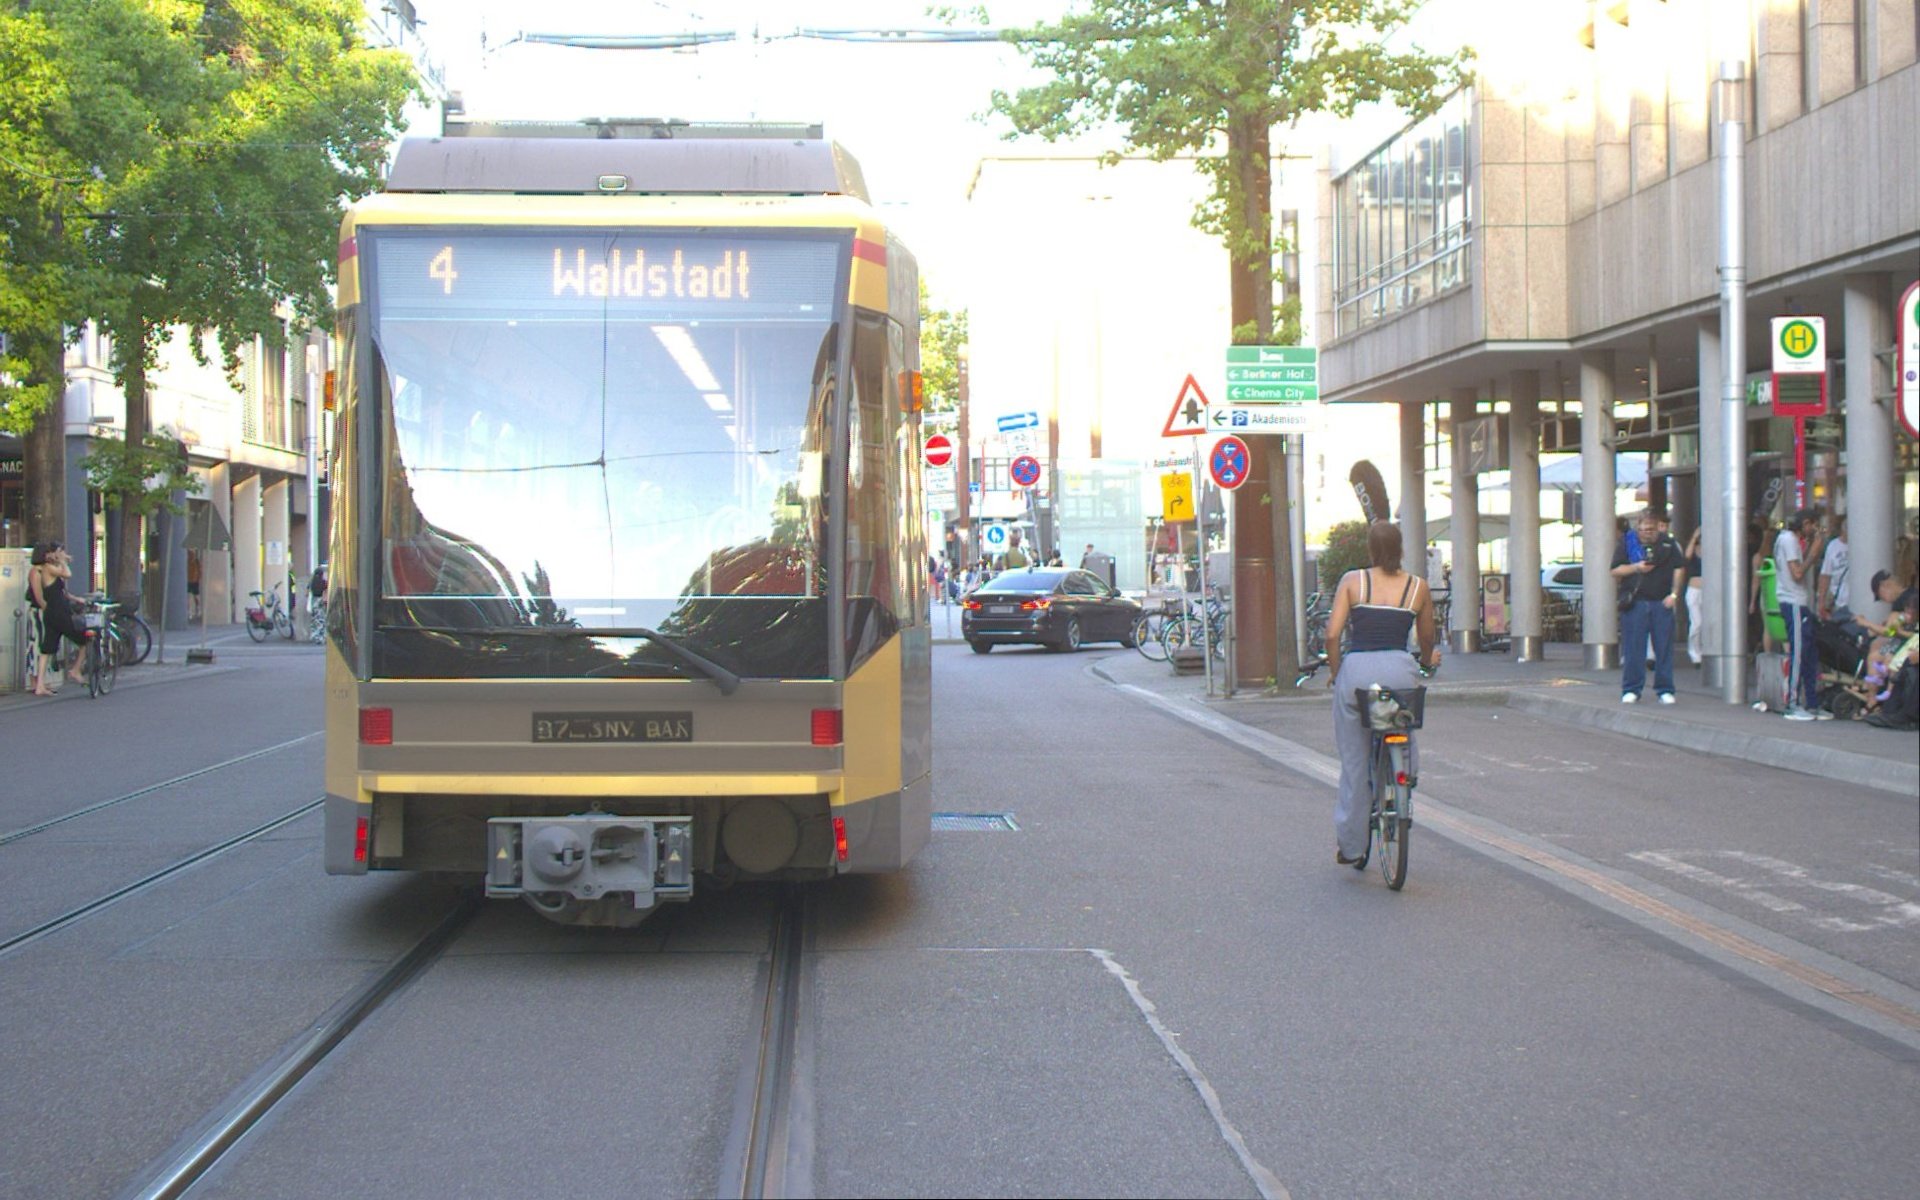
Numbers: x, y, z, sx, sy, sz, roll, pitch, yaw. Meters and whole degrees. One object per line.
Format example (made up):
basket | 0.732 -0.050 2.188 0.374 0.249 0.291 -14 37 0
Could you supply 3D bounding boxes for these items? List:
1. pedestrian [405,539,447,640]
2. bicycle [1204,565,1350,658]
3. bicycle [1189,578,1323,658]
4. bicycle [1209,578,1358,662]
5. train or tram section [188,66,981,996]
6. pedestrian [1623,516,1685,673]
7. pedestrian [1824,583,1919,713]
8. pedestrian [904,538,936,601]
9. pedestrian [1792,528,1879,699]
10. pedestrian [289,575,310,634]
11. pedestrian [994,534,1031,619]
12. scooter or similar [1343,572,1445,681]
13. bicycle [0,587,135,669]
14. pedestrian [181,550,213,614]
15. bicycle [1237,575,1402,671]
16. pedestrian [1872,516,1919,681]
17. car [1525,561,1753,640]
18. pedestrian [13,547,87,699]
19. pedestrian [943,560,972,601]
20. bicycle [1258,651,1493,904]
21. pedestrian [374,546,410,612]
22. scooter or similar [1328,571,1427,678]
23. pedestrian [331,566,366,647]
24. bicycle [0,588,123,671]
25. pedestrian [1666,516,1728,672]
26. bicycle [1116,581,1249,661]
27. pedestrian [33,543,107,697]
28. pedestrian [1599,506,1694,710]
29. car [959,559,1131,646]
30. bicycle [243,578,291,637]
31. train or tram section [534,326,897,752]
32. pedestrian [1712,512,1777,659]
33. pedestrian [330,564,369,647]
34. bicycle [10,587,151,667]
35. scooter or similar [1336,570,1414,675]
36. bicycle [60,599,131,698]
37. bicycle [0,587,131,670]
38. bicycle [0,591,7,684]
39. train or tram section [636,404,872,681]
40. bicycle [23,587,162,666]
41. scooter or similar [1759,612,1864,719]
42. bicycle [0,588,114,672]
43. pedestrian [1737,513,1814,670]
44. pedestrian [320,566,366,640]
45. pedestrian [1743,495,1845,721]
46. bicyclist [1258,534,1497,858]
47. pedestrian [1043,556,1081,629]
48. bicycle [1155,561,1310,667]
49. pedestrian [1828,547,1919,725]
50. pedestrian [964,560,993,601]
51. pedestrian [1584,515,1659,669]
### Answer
pedestrian | -10.309 -0.205 66.334 0.773 1.919 0.709 -1 0 -10
bicycle | 4.518 0.156 49.069 1.914 1.218 0.763 -3 1 -6
bicycle | 4.353 0.262 50.602 1.852 1.105 0.667 -2 1 -4
bicycle | 4.541 0.270 48.324 1.914 1.074 0.763 -3 1 -6
train or tram section | -1.623 -0.364 19.565 2.800 3.308 14.510 0 1 -2
pedestrian | 8.089 -0.069 40.075 0.539 1.800 0.604 -1 0 -3
pedestrian | 7.462 0.386 27.782 0.813 1.039 0.544 0 0 0
pedestrian | -1.171 -0.883 100.177 0.733 1.817 0.820 0 1 -16
pedestrian | 8.592 0.128 33.752 0.648 1.655 0.650 -1 1 -1
pedestrian | -17.257 0.113 89.812 0.508 1.542 0.518 -1 0 -10
pedestrian | 1.069 -0.478 70.161 0.718 1.719 0.709 -1 0 -1
scooter or similar | 5.173 0.308 40.981 1.112 1.247 0.497 -2 1 -32
bicycle | -11.945 0.373 45.789 1.772 1.041 0.489 1 1 -2
pedestrian | -20.429 -0.479 92.091 0.713 1.719 0.709 -1 0 -3
bicycle | 4.710 0.290 45.100 1.995 1.151 0.726 -3 1 -6
pedestrian | 10.056 -0.017 36.417 0.570 1.725 0.617 -1 0 -3
car | 12.266 0.012 62.278 3.889 1.404 1.775 0 0 5
pedestrian | -10.281 0.249 38.847 0.602 1.693 0.535 1 1 27
pedestrian | -0.076 -0.587 104.054 0.792 1.217 0.769 0 1 -5
bicycle | 1.980 0.824 16.677 0.815 1.069 2.113 1 1 -1
pedestrian | -13.681 -0.513 82.812 0.626 1.583 0.605 0 0 -44
scooter or similar | 5.076 0.288 41.779 1.187 1.247 0.393 -2 1 -31
pedestrian | -11.328 0.129 63.702 0.603 1.489 0.555 -1 0 -10
bicycle | -11.898 0.378 44.968 1.772 1.041 0.489 1 1 -2
pedestrian | 8.629 -0.068 40.262 0.539 1.800 0.604 -1 0 -3
bicycle | 3.264 0.299 50.483 1.852 1.105 0.667 -2 1 -4
pedestrian | -9.935 0.213 38.382 0.602 1.693 0.535 1 1 27
pedestrian | 6.284 0.067 31.486 0.668 1.833 0.708 -1 0 -2
car | 1.463 0.053 57.681 1.771 1.404 4.048 0 0 19
bicycle | -13.830 0.143 68.643 0.498 1.104 1.800 0 2 3
train or tram section | -2.188 -0.588 34.095 2.800 3.308 14.510 0 1 -2
pedestrian | 9.956 -0.186 43.635 0.663 1.842 0.719 -1 0 4
pedestrian | -11.434 0.101 64.390 0.684 1.536 0.605 -1 0 -11
bicycle | -11.979 0.365 46.849 1.772 1.041 0.489 1 1 -2
scooter or similar | 5.121 0.271 42.370 0.393 1.247 1.189 -1 2 37
bicycle | -9.671 0.530 38.493 0.488 1.041 1.778 0 1 -5
bicycle | -11.940 0.374 45.546 1.772 1.041 0.489 1 1 -2
bicycle | -11.035 0.438 38.268 0.488 1.041 1.778 0 1 -5
train or tram section | -2.759 -0.808 48.583 2.800 3.308 14.510 0 1 -2
bicycle | -11.962 0.362 47.430 1.772 1.041 0.489 1 1 -2
scooter or similar | 7.280 0.556 29.423 0.834 0.881 0.686 1 0 13
bicycle | -11.881 0.382 44.397 1.772 1.041 0.489 1 1 -2
pedestrian | 9.406 -0.105 39.662 0.663 1.781 0.719 -1 0 -1
pedestrian | -12.085 0.055 67.365 0.555 1.429 0.684 -1 0 36
pedestrian | 6.916 0.063 28.537 0.639 1.833 0.668 -1 0 -1
bicyclist | 1.989 0.445 16.507 0.997 1.497 0.857 1 1 -1
pedestrian | 2.551 -0.184 86.100 0.733 1.817 0.820 0 1 -16
bicycle | 3.660 0.183 46.252 1.914 1.328 0.726 -3 1 -6
pedestrian | 7.296 0.280 26.950 0.813 1.376 0.662 0 0 0
pedestrian | 0.554 -0.579 103.266 0.792 1.217 0.769 0 1 -5
pedestrian | 8.020 -0.104 41.703 0.668 1.833 0.880 -1 0 -2
